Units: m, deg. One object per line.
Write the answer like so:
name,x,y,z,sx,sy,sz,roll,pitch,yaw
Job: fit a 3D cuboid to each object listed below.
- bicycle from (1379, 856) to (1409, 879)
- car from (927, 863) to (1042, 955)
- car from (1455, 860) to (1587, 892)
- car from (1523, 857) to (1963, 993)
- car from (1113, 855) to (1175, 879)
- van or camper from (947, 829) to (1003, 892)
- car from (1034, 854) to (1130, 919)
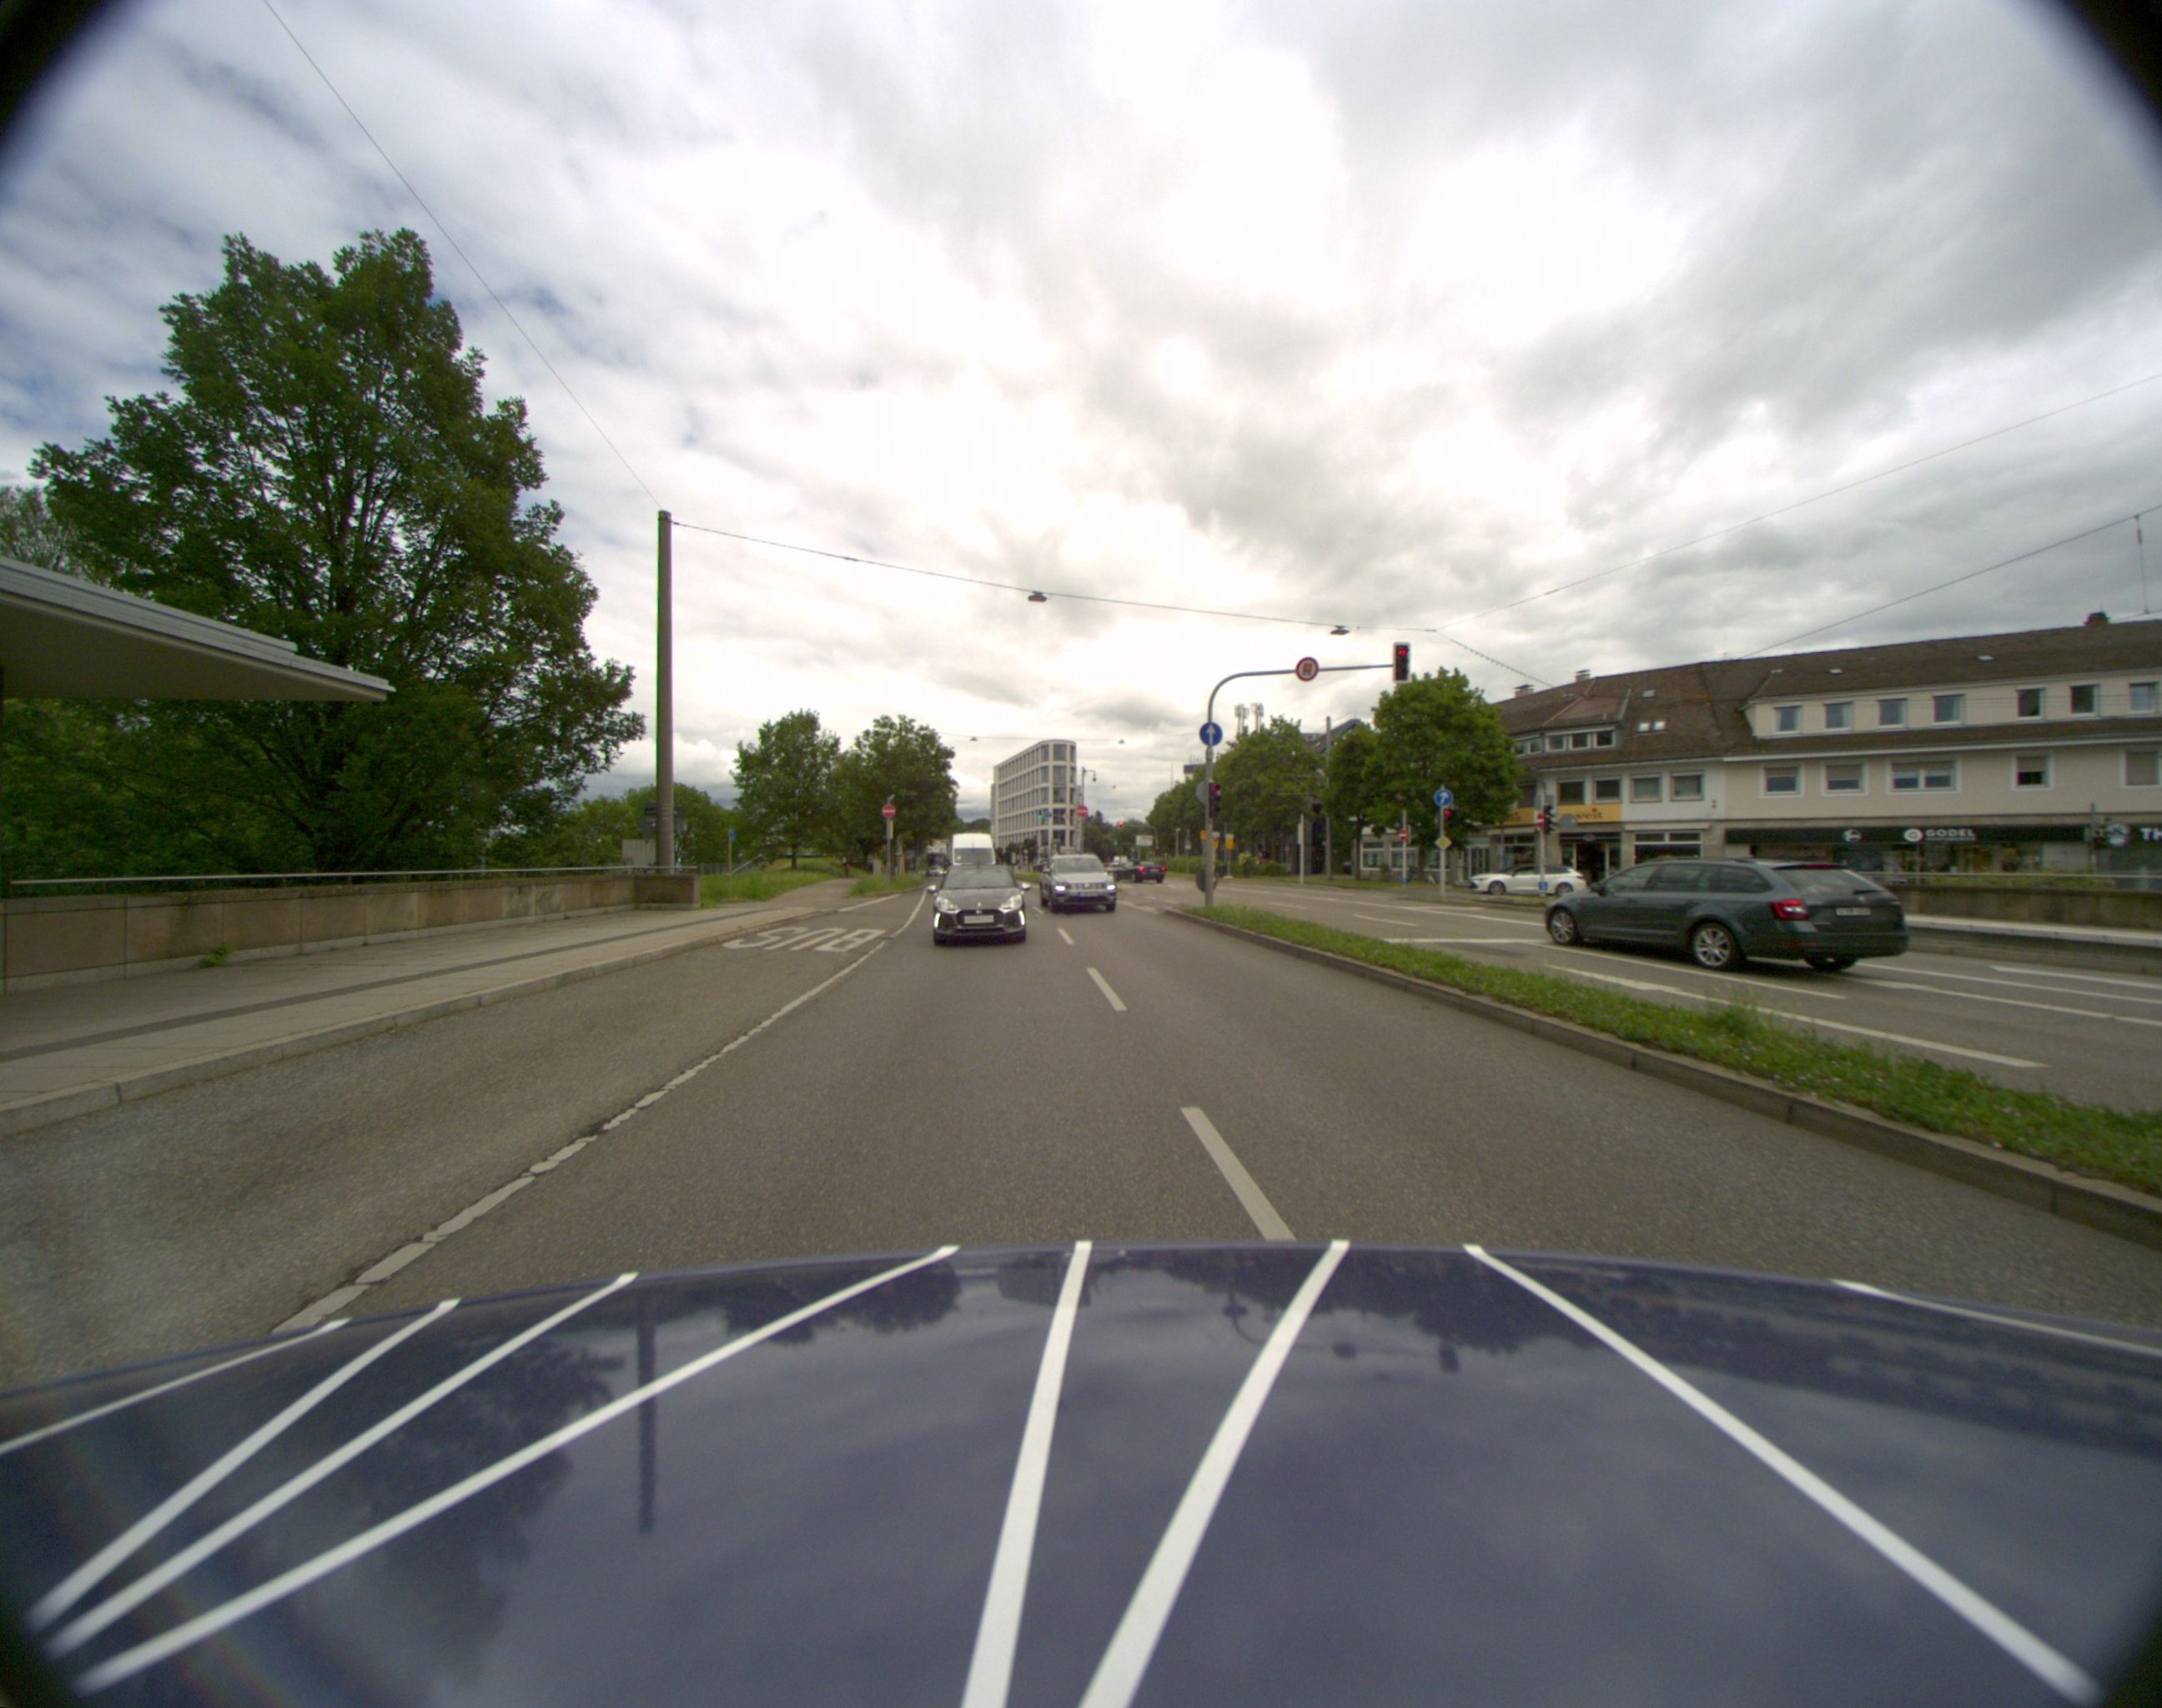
bicycle,18.037,0.767,43.730,1.686,1.246,0.625,0,2,-26
car,-2.068,0.976,15.261,1.865,1.516,3.995,1,0,-14
car,19.862,0.980,34.492,4.802,1.348,2.002,0,0,12
car,8.903,0.817,10.955,2.000,1.503,4.642,1,0,-6
car,3.782,0.764,46.502,2.002,1.348,4.802,0,0,-20
van or camper,-5.112,0.273,35.812,2.282,2.690,6.988,1,0,-10
car,-0.092,0.873,22.699,2.000,1.640,4.389,-2,1,-11
